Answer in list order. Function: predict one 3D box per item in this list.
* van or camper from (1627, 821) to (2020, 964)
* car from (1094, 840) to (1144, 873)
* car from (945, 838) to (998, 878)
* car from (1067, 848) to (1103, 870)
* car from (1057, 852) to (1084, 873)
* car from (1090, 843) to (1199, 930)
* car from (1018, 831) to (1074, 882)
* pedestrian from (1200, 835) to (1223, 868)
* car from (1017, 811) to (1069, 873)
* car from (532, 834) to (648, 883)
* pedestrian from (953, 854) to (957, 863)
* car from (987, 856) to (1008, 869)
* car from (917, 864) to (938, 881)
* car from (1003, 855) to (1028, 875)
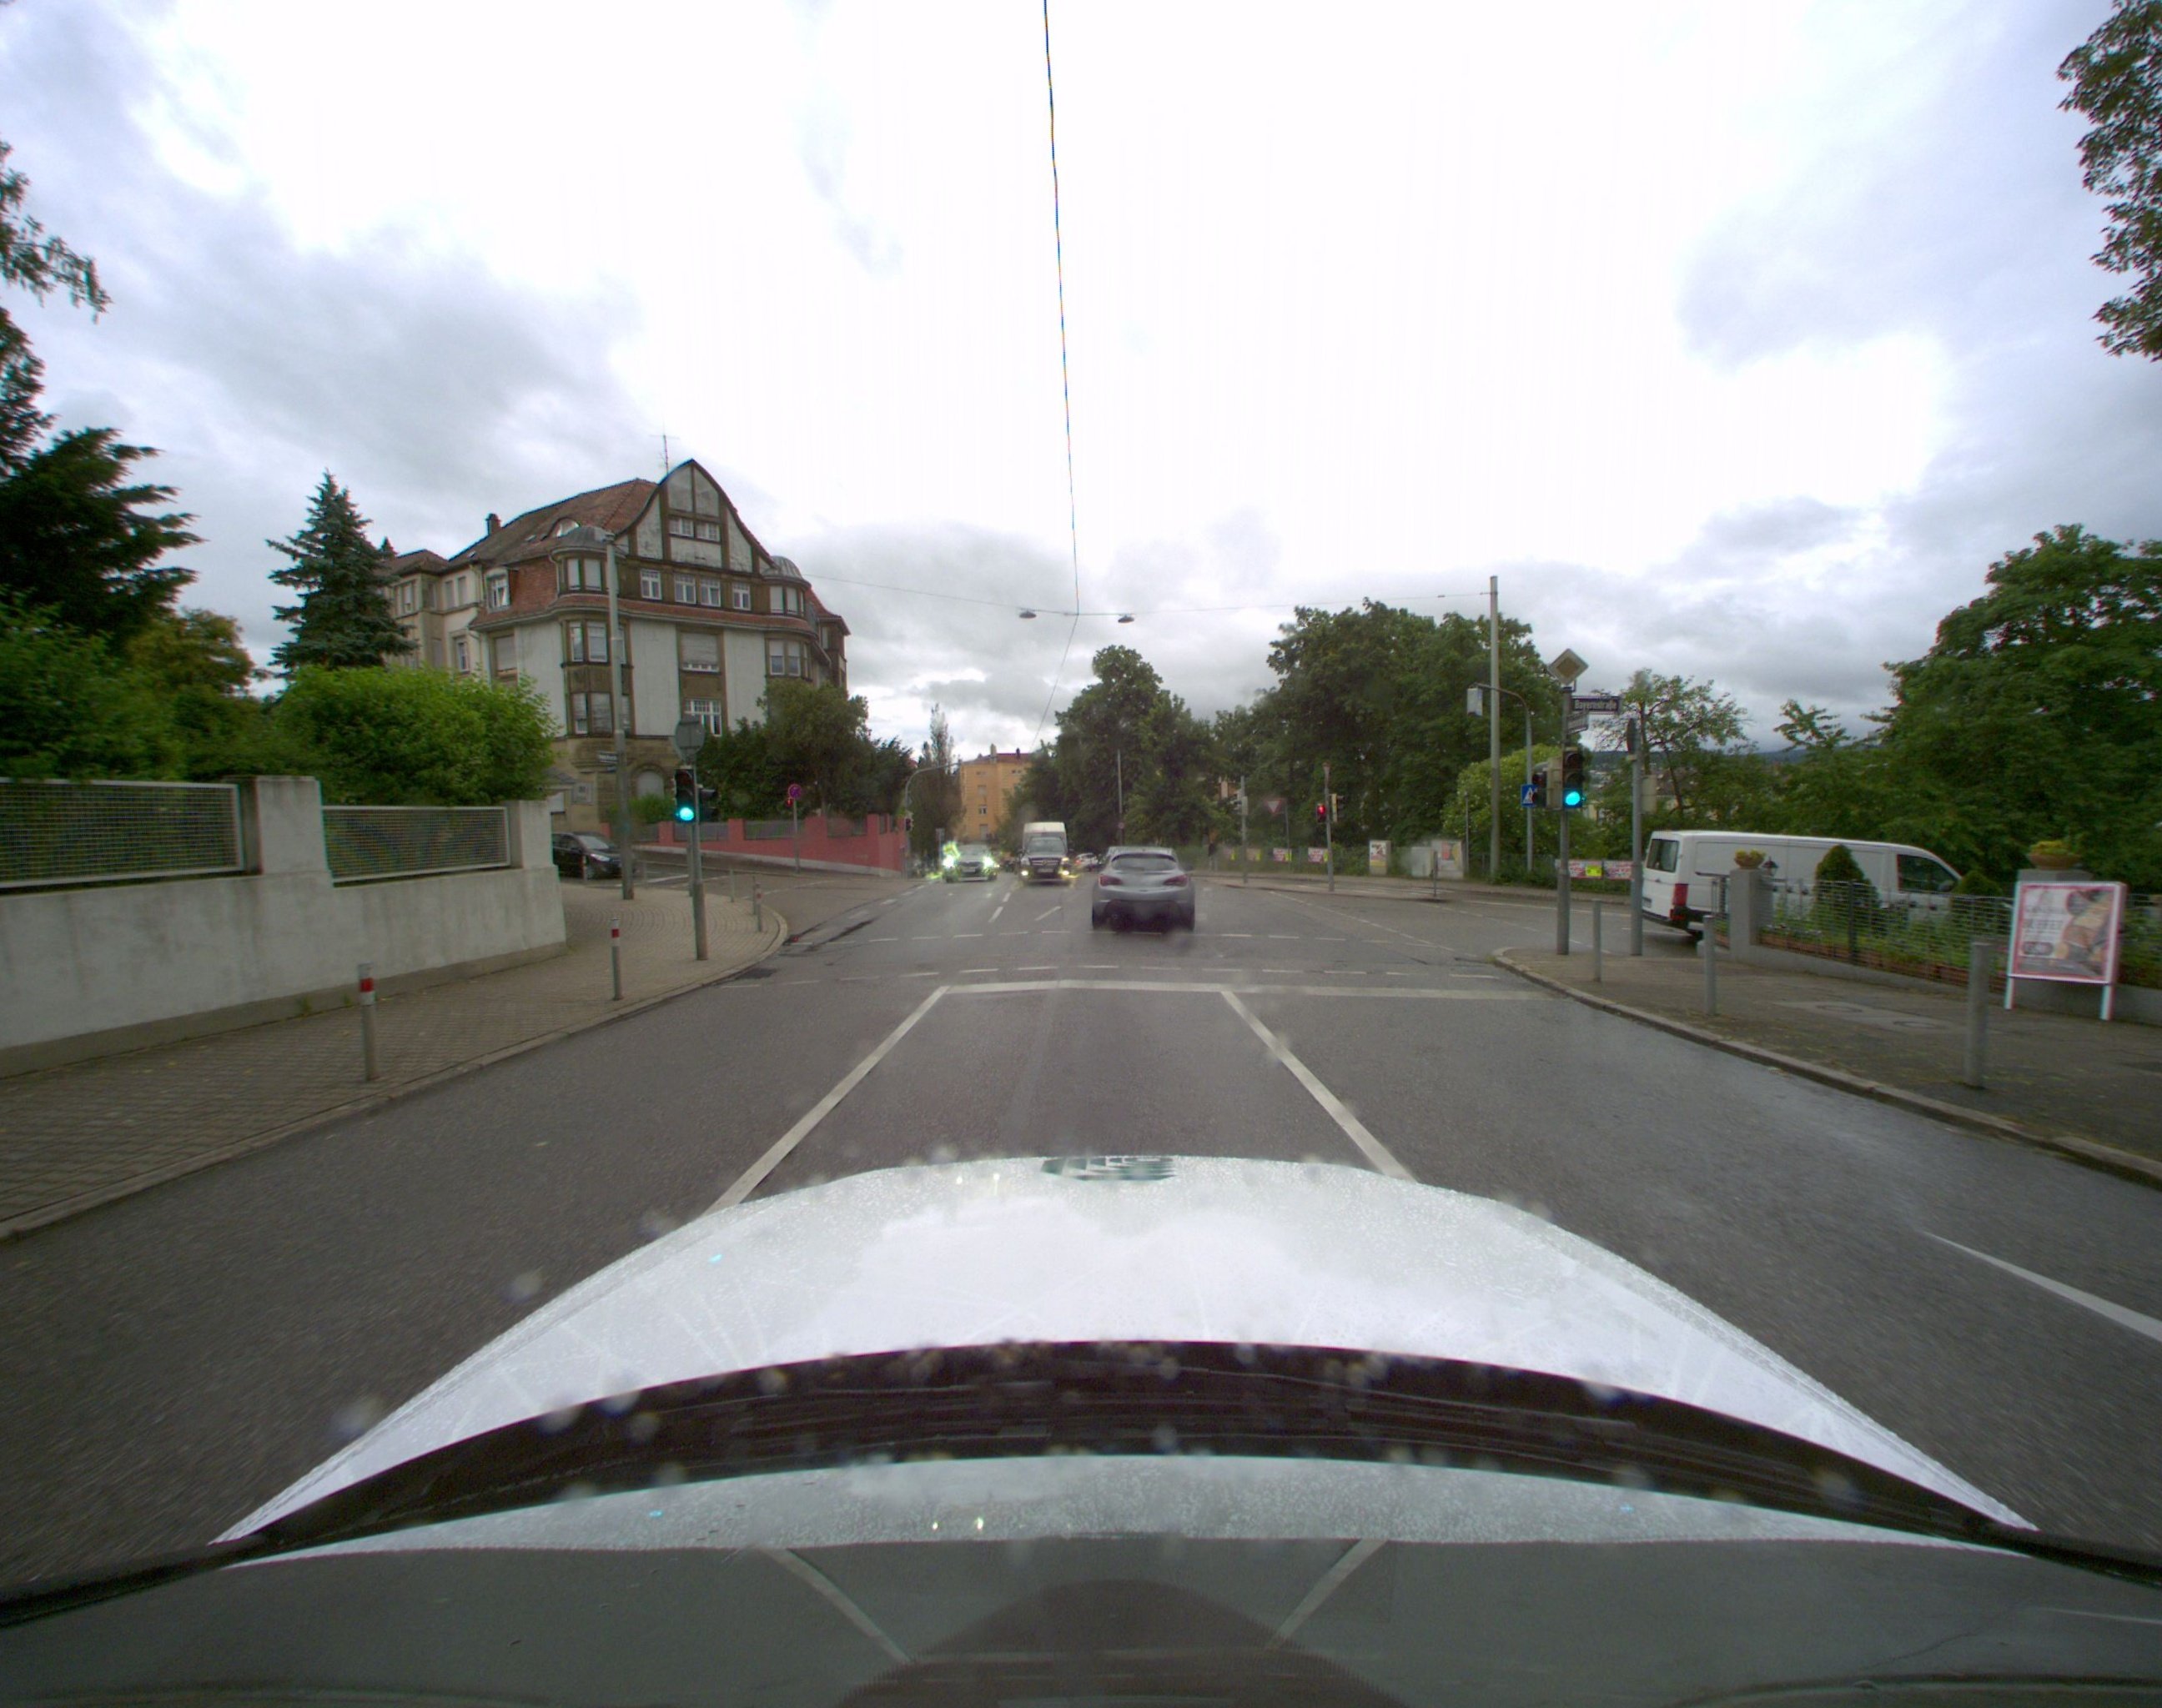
[{"bbox_3d":[14.488,0.636,16.350,5.360,2.325,2.119,3,3,15],"label":"van or camper"},{"bbox_3d":[1.756,0.173,38.945,1.774,1.430,3.776,-1,-2,-6],"label":"car"},{"bbox_3d":[-4.456,0.096,33.774,1.850,1.486,5.358,-2,1,-5],"label":"car"},{"bbox_3d":[0.298,0.432,68.386,1.819,1.495,3.979,-7,0,-15],"label":"car"},{"bbox_3d":[-0.806,0.631,61.277,1.383,1.411,3.444,-3,0,-10],"label":"car"},{"bbox_3d":[1.093,0.519,15.756,1.809,1.429,4.000,-1,1,0],"label":"car"},{"bbox_3d":[-1.228,0.059,28.919,1.817,1.652,4.343,-1,1,-2],"label":"car"},{"bbox_3d":[6.733,-0.116,41.958,0.766,1.605,0.961,-4,0,-13],"label":"pedestrian"},{"bbox_3d":[-1.728,-0.473,37.202,2.112,2.545,5.534,-2,0,-3],"label":"car"},{"bbox_3d":[-16.956,0.111,28.148,3.327,1.437,1.680,2,5,20],"label":"car"},{"bbox_3d":[-21.699,0.839,140.125,0.614,1.496,0.549,-2,2,-18],"label":"pedestrian"},{"bbox_3d":[-11.049,1.135,107.680,1.821,1.467,3.974,-7,0,-19],"label":"car"},{"bbox_3d":[-14.590,1.764,77.231,1.816,1.612,3.983,-1,-1,-12],"label":"car"},{"bbox_3d":[-6.693,1.116,82.875,1.644,1.688,3.695,-2,4,-18],"label":"car"}]
